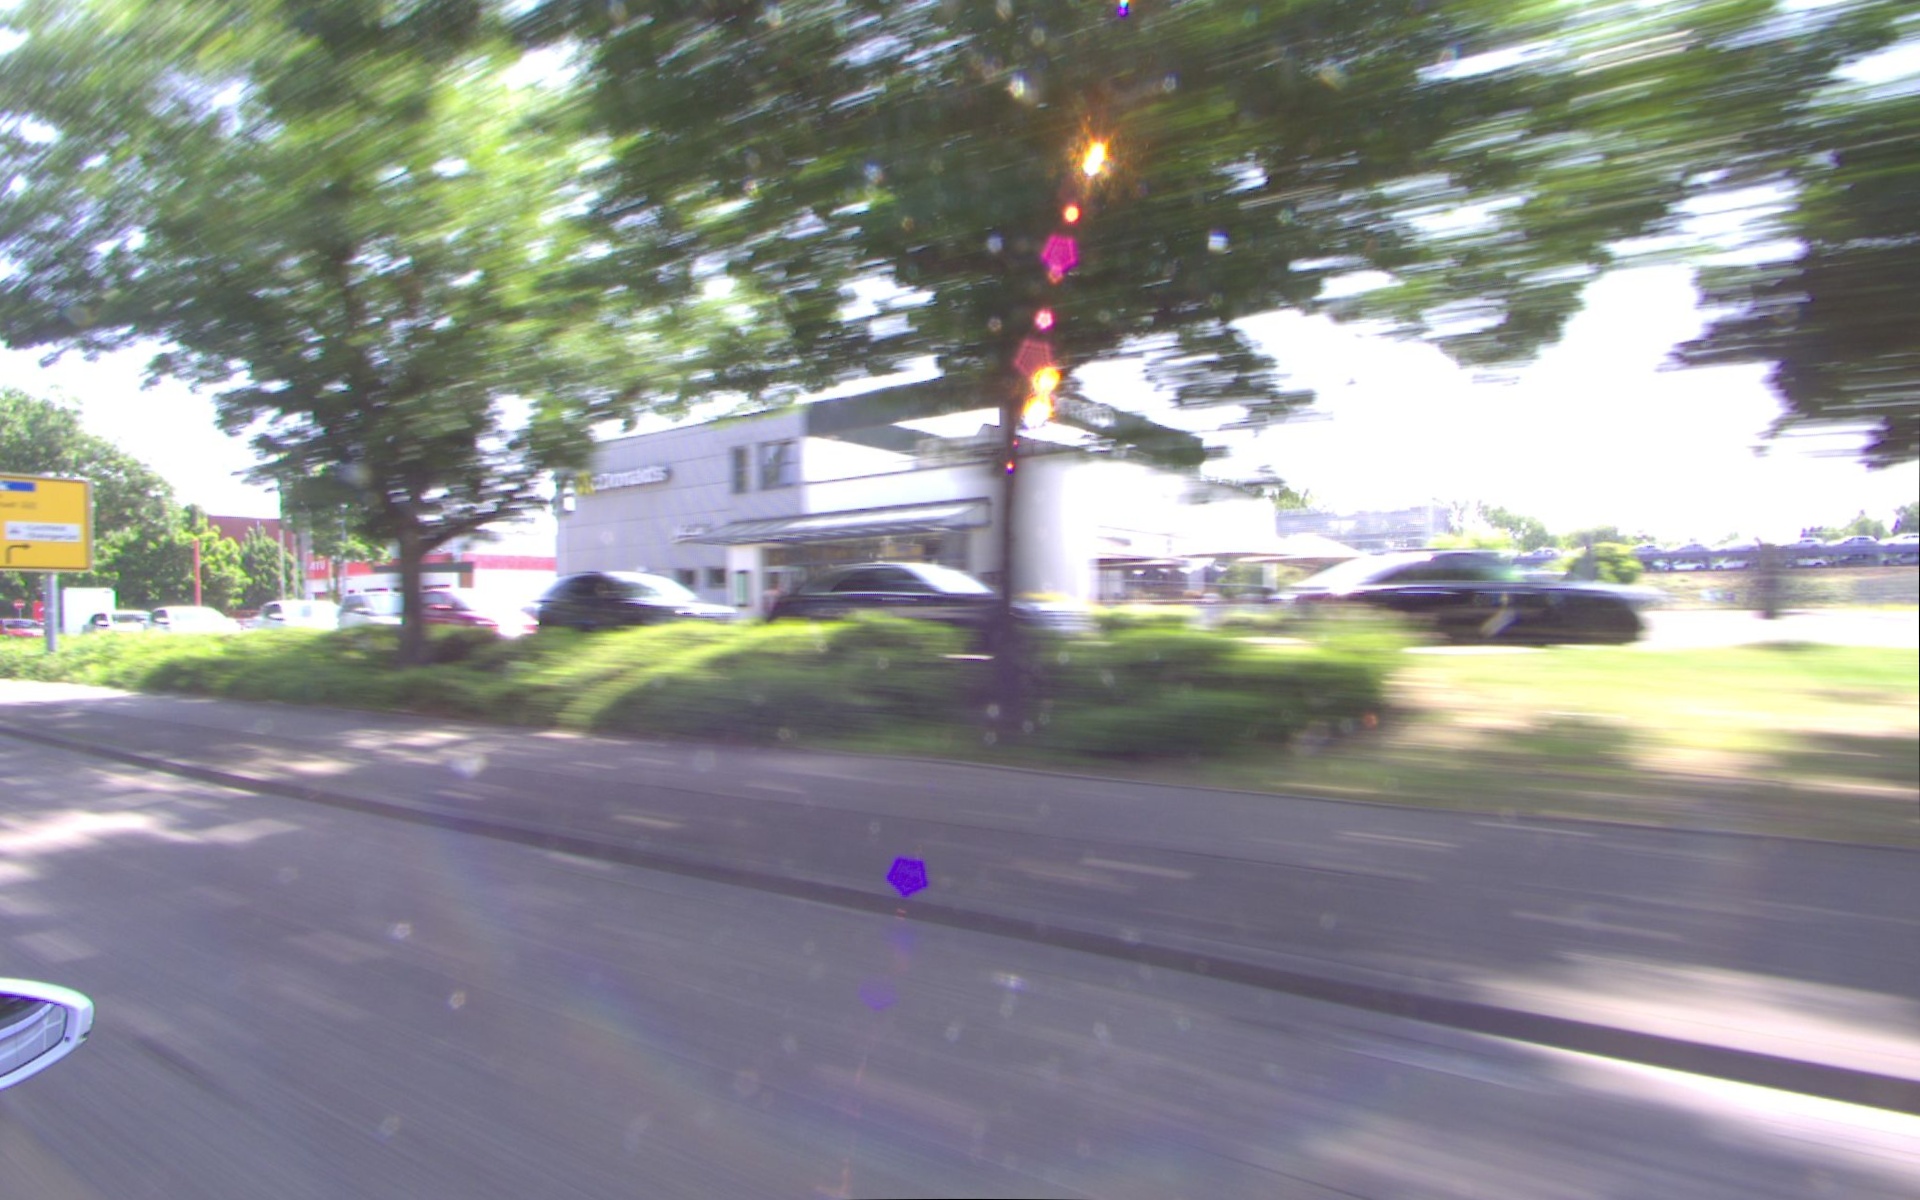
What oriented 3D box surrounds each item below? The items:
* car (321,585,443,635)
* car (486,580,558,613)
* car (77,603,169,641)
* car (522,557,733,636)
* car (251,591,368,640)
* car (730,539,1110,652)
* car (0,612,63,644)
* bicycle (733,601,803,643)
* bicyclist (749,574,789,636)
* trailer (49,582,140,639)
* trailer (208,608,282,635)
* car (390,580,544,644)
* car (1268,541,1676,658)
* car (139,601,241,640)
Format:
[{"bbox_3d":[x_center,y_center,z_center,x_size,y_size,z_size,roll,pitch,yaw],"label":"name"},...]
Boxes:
[{"bbox_3d":[-14.052,0.260,24.314,2.817,1.137,1.503,-2,-1,34],"label":"car"},{"bbox_3d":[-25.329,-0.180,57.917,4.570,1.829,1.704,-1,1,36],"label":"car"},{"bbox_3d":[-29.564,0.796,35.352,3.582,1.269,1.615,-2,-1,35],"label":"car"},{"bbox_3d":[-6.183,0.011,18.458,4.145,1.268,1.614,-2,-3,36],"label":"car"},{"bbox_3d":[-17.944,0.454,27.562,3.820,1.269,1.612,-2,-1,39],"label":"car"},{"bbox_3d":[-0.661,0.014,15.186,5.510,1.470,1.906,-1,-1,25],"label":"car"},{"bbox_3d":[-42.893,1.257,45.927,4.266,1.398,1.695,-1,0,35],"label":"car"},{"bbox_3d":[-5.800,0.657,30.242,2.212,1.242,0.689,-1,1,34],"label":"bicycle"},{"bbox_3d":[-5.761,0.147,30.198,0.852,1.828,0.776,0,1,33],"label":"bicyclist"},{"bbox_3d":[-33.505,0.425,38.710,5.415,2.082,1.694,-1,0,38],"label":"trailer"},{"bbox_3d":[-45.451,1.338,63.691,1.395,1.603,3.591,0,1,37],"label":"trailer"},{"bbox_3d":[-10.764,0.302,21.786,3.719,1.269,1.612,-2,-1,39],"label":"car"},{"bbox_3d":[6.867,-0.021,13.786,4.623,1.370,1.952,-2,1,-1],"label":"car"},{"bbox_3d":[-24.454,0.659,31.769,3.689,1.173,1.589,-2,-1,36],"label":"car"}]
